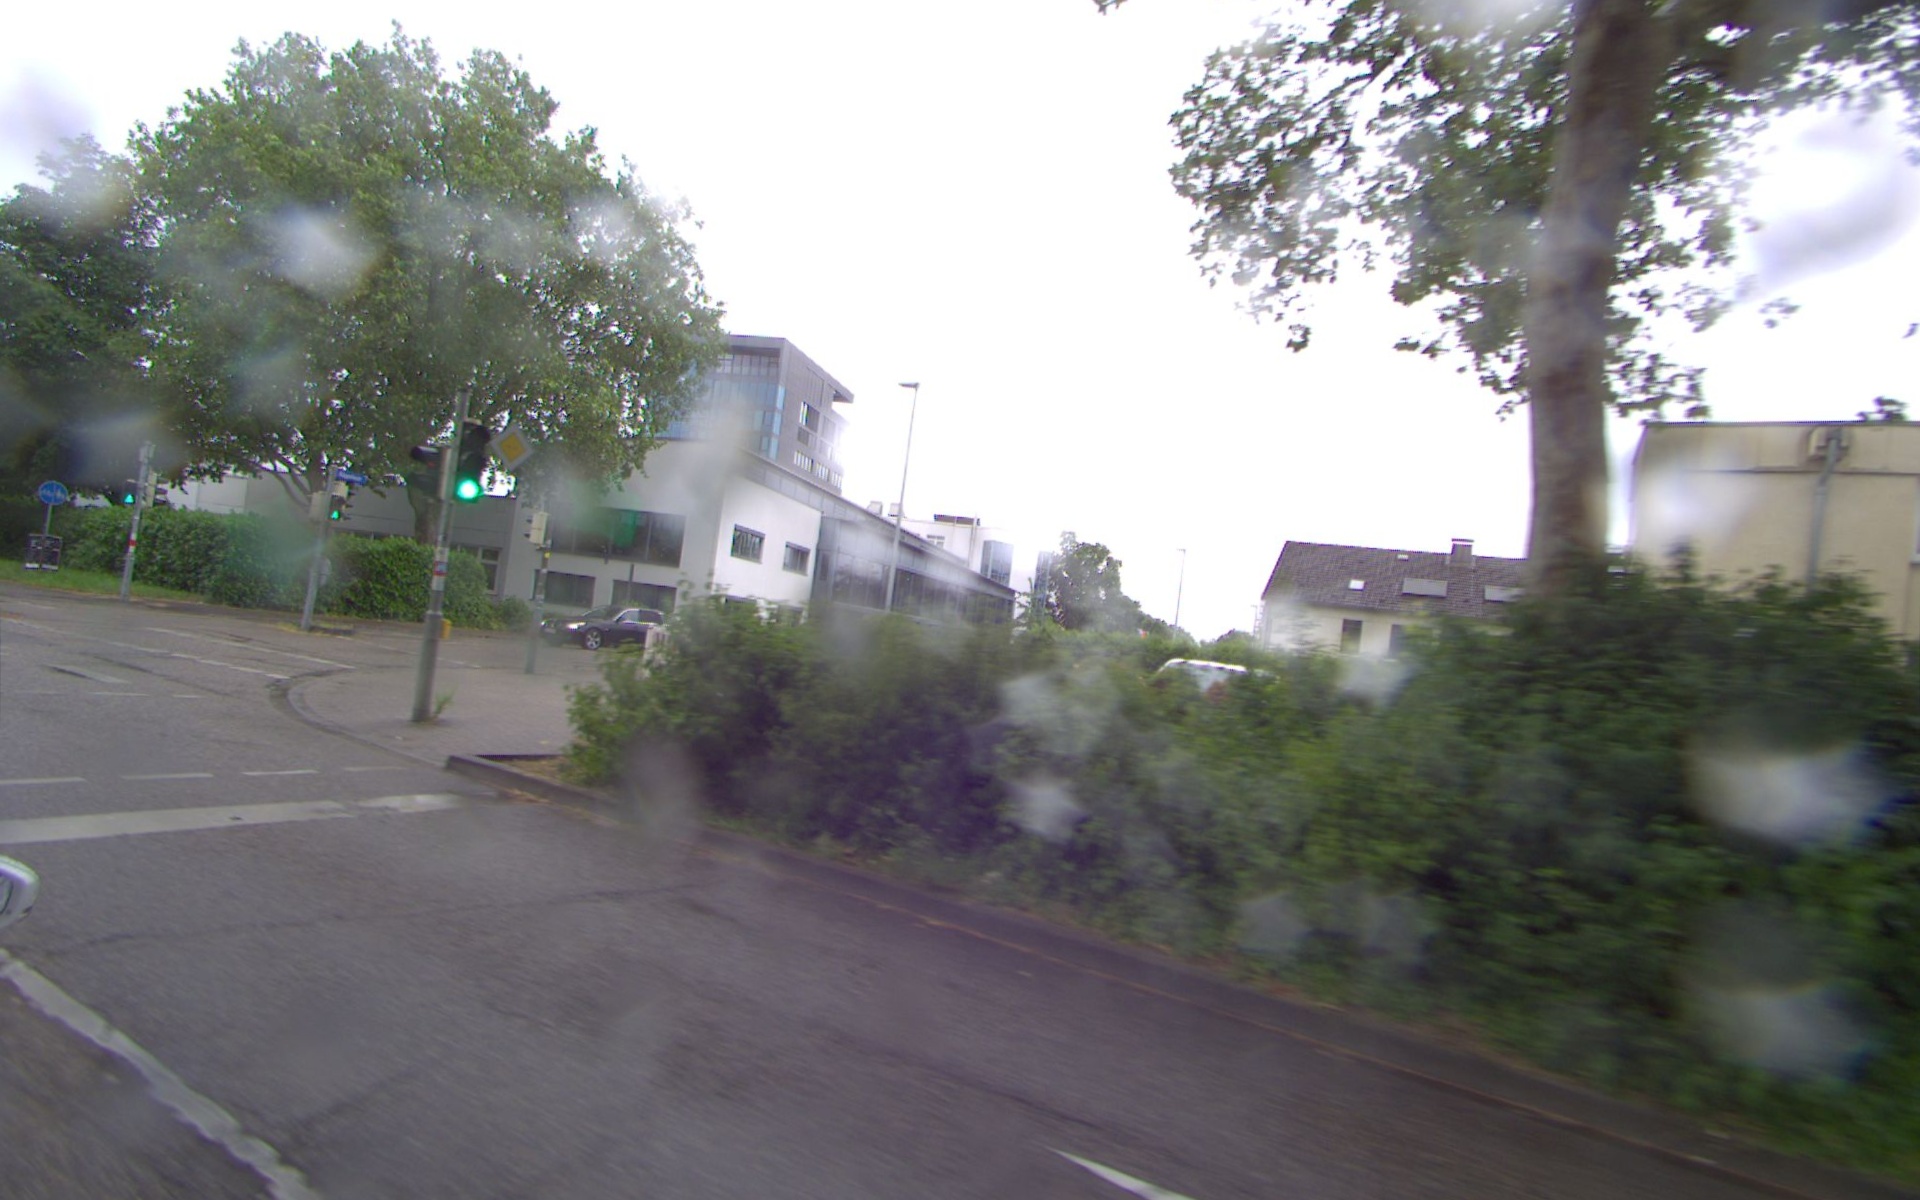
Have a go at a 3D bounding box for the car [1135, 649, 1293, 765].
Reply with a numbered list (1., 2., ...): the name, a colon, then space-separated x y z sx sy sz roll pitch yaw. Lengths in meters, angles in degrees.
1. car: 5.043 2.051 19.486 1.750 1.777 4.549 6 -2 28

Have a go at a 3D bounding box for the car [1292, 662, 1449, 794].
1. car: 7.245 2.166 17.474 1.720 1.777 4.546 6 -2 31

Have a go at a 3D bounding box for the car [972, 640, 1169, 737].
1. car: 2.330 1.829 20.215 1.800 1.608 4.290 4 -3 39

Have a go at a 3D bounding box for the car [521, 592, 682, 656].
1. car: -10.878 0.776 30.843 1.822 1.500 4.386 5 -3 31

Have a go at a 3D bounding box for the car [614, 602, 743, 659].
1. car: -10.171 1.159 36.630 1.857 1.608 4.300 6 -2 31
